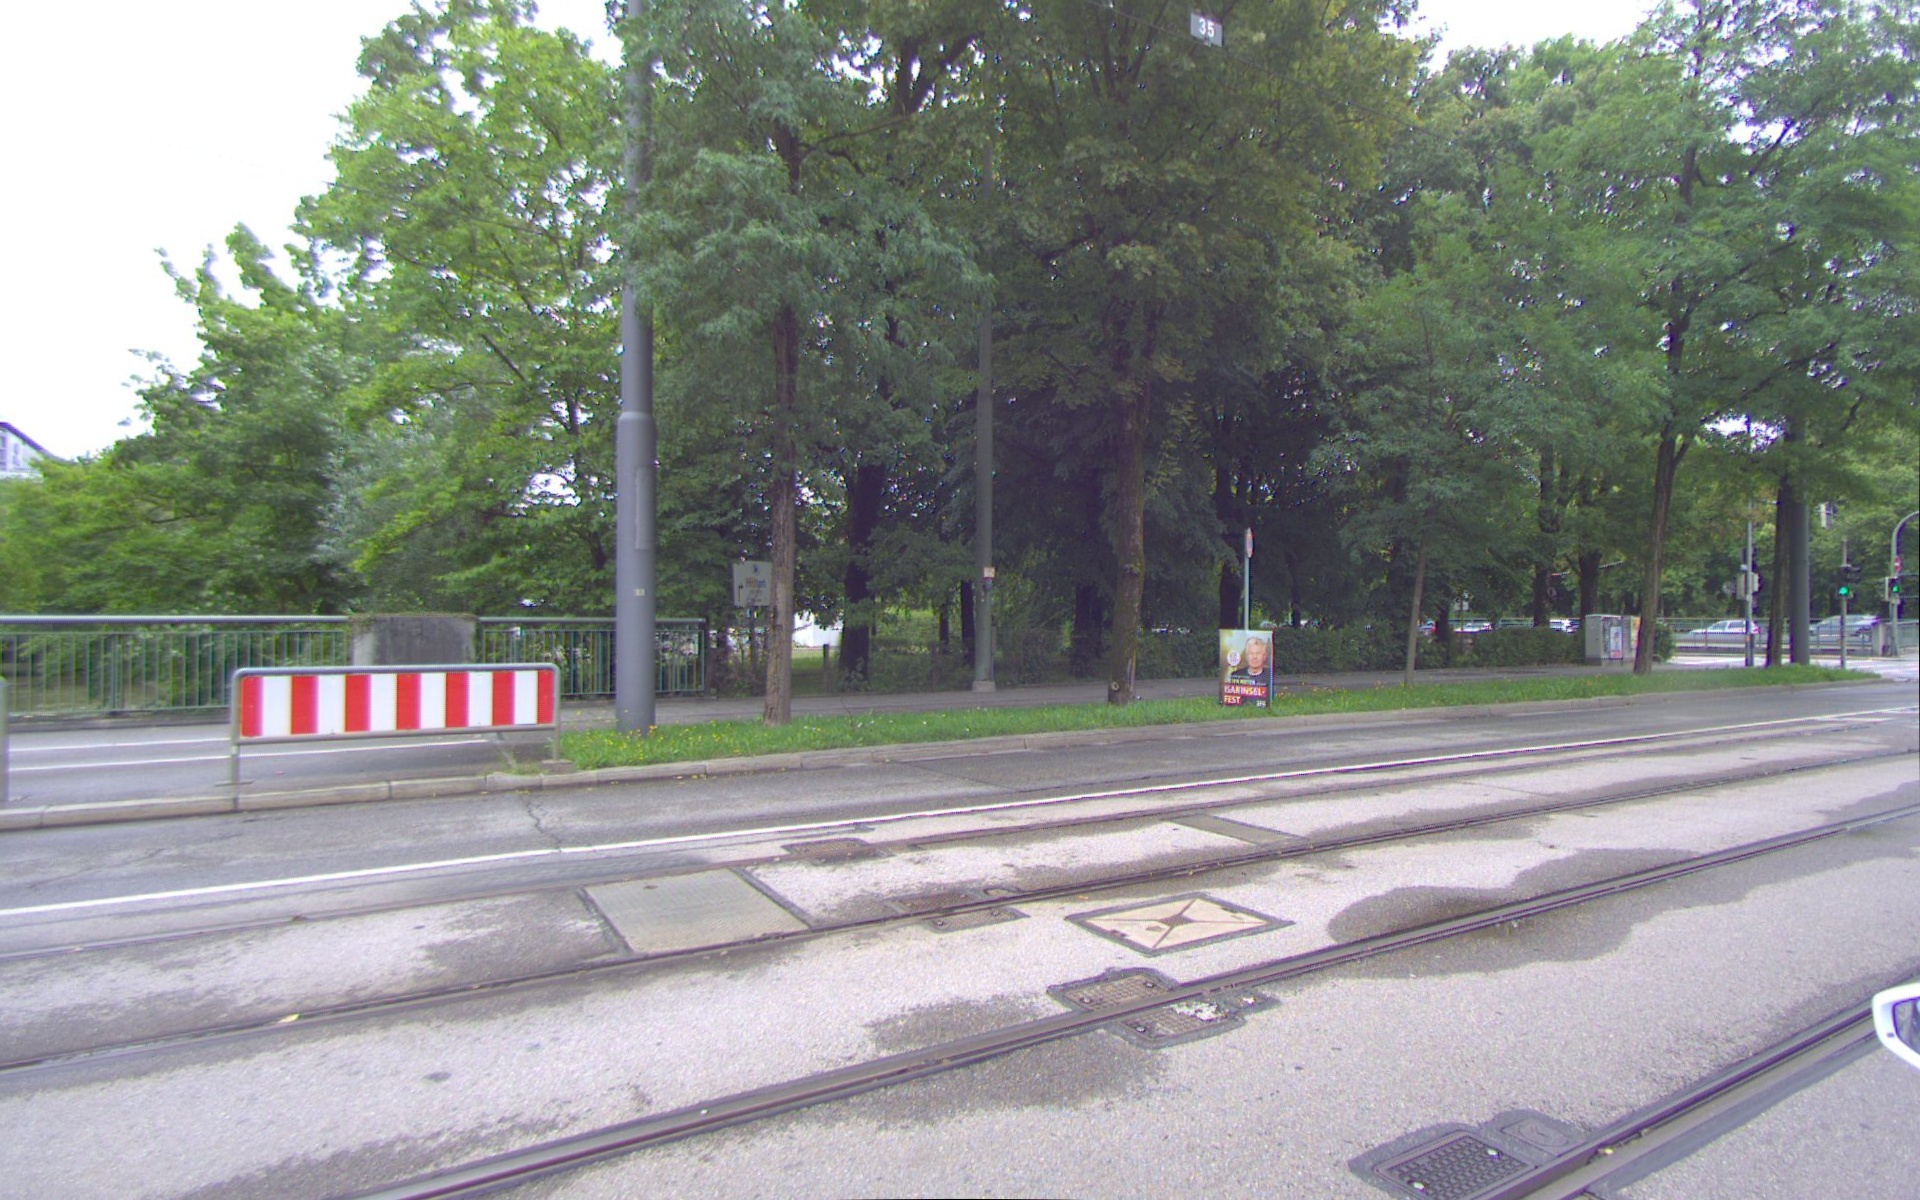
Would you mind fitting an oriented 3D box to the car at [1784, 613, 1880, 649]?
[{"bbox_3d":[51.446,1.806,59.326,1.476,1.912,3.994,1,1,-36],"label":"car"}]

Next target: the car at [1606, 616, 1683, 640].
[{"bbox_3d":[46.013,1.847,67.584,1.703,1.423,3.900,1,0,-34],"label":"car"}]

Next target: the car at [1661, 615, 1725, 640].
[{"bbox_3d":[47.485,1.764,65.101,1.238,1.471,3.090,1,1,-34],"label":"car"}]

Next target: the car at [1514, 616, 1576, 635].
[{"bbox_3d":[42.470,1.865,72.938,1.238,1.201,3.704,1,1,-34],"label":"car"}]
